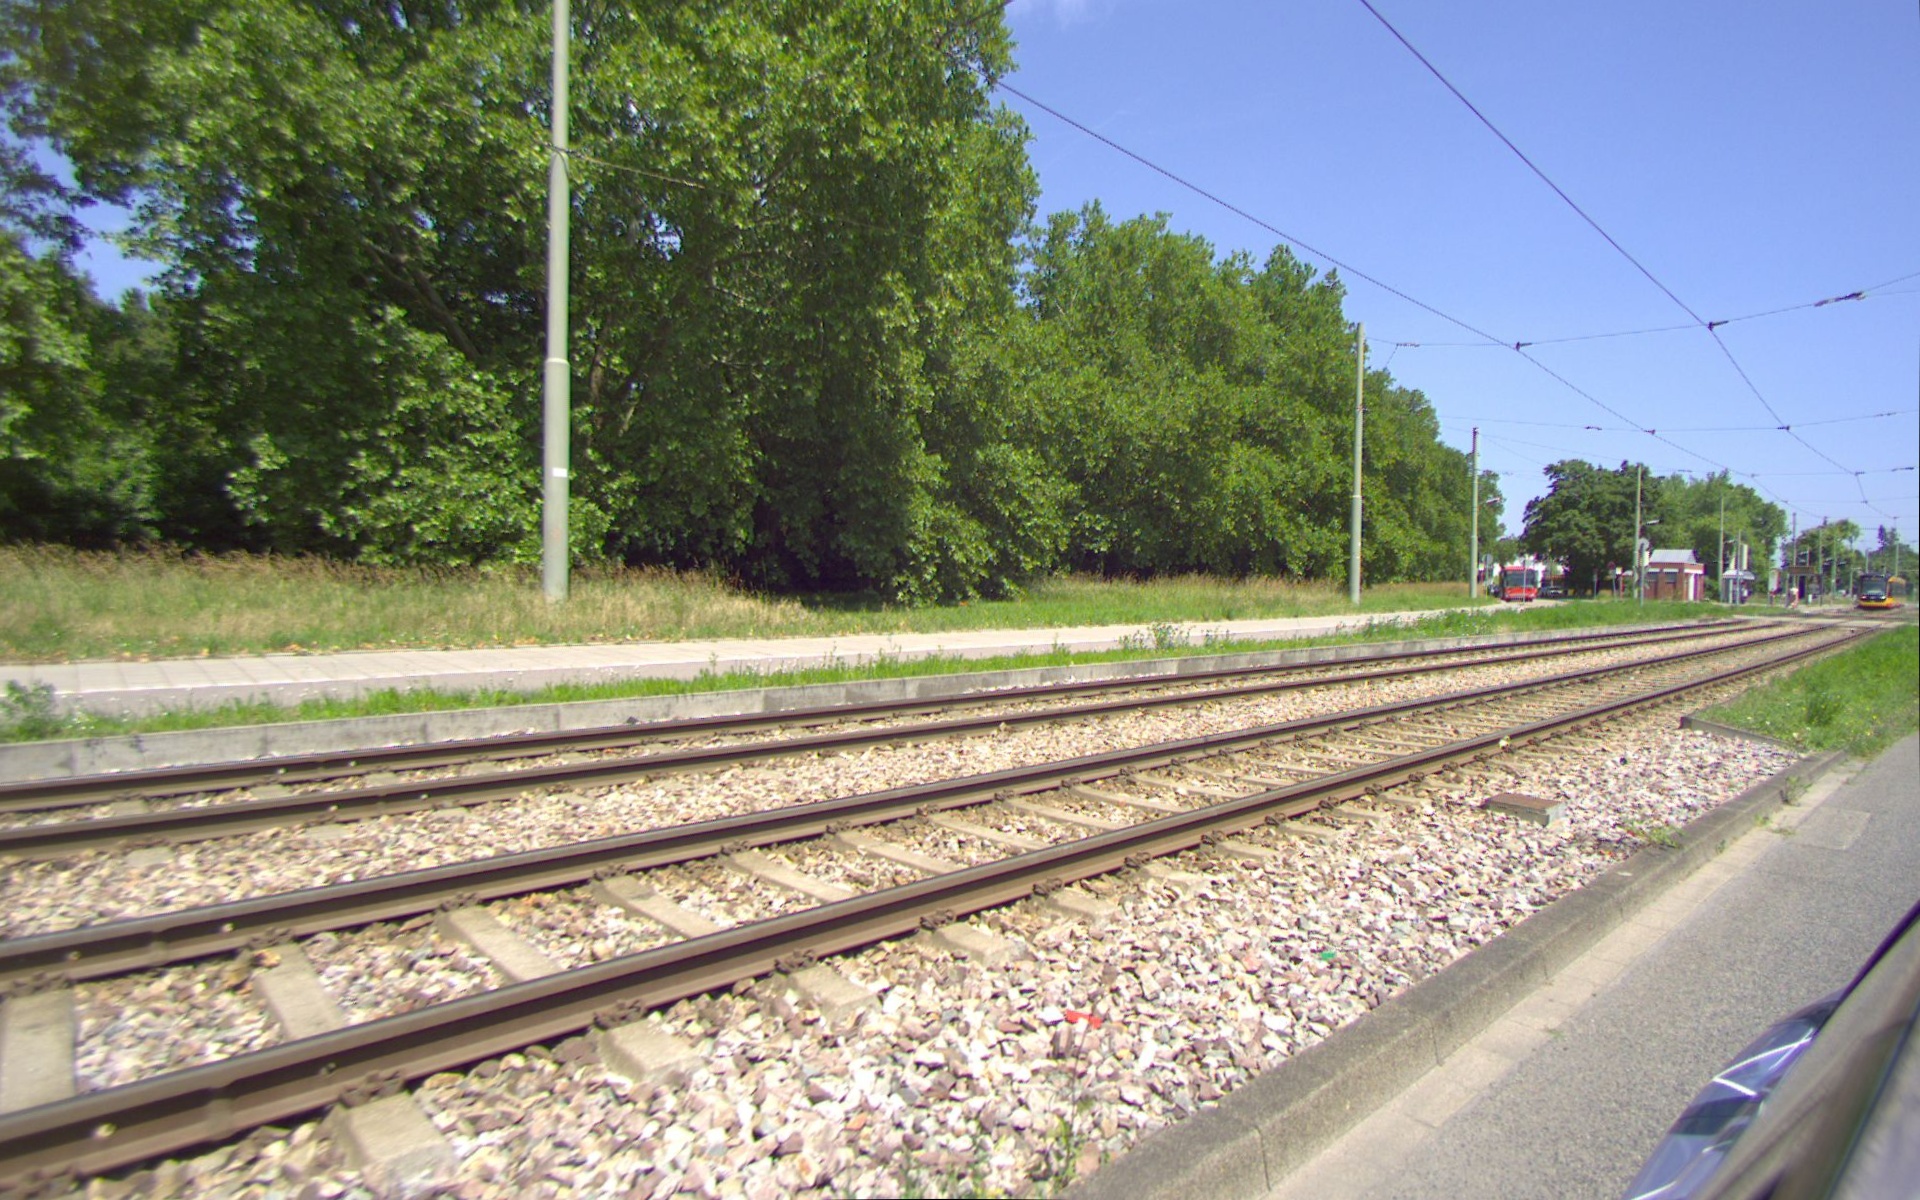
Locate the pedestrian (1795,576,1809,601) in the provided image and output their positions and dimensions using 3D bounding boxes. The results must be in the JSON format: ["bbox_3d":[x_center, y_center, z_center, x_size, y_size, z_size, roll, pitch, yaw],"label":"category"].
[{"bbox_3d":[60.079,-0.820,72.217,0.632,1.781,0.807,0,1,33],"label":"pedestrian"}]

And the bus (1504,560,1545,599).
[{"bbox_3d":[52.638,-1.926,94.595,2.741,3.481,12.332,0,1,27],"label":"bus"}]

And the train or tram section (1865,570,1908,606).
[{"bbox_3d":[90.346,-1.178,98.659,7.138,3.364,2.521,0,2,-43],"label":"train or tram section"}]

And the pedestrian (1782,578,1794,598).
[{"bbox_3d":[76.272,-1.104,93.213,0.646,1.786,0.707,0,2,-42],"label":"pedestrian"}]
